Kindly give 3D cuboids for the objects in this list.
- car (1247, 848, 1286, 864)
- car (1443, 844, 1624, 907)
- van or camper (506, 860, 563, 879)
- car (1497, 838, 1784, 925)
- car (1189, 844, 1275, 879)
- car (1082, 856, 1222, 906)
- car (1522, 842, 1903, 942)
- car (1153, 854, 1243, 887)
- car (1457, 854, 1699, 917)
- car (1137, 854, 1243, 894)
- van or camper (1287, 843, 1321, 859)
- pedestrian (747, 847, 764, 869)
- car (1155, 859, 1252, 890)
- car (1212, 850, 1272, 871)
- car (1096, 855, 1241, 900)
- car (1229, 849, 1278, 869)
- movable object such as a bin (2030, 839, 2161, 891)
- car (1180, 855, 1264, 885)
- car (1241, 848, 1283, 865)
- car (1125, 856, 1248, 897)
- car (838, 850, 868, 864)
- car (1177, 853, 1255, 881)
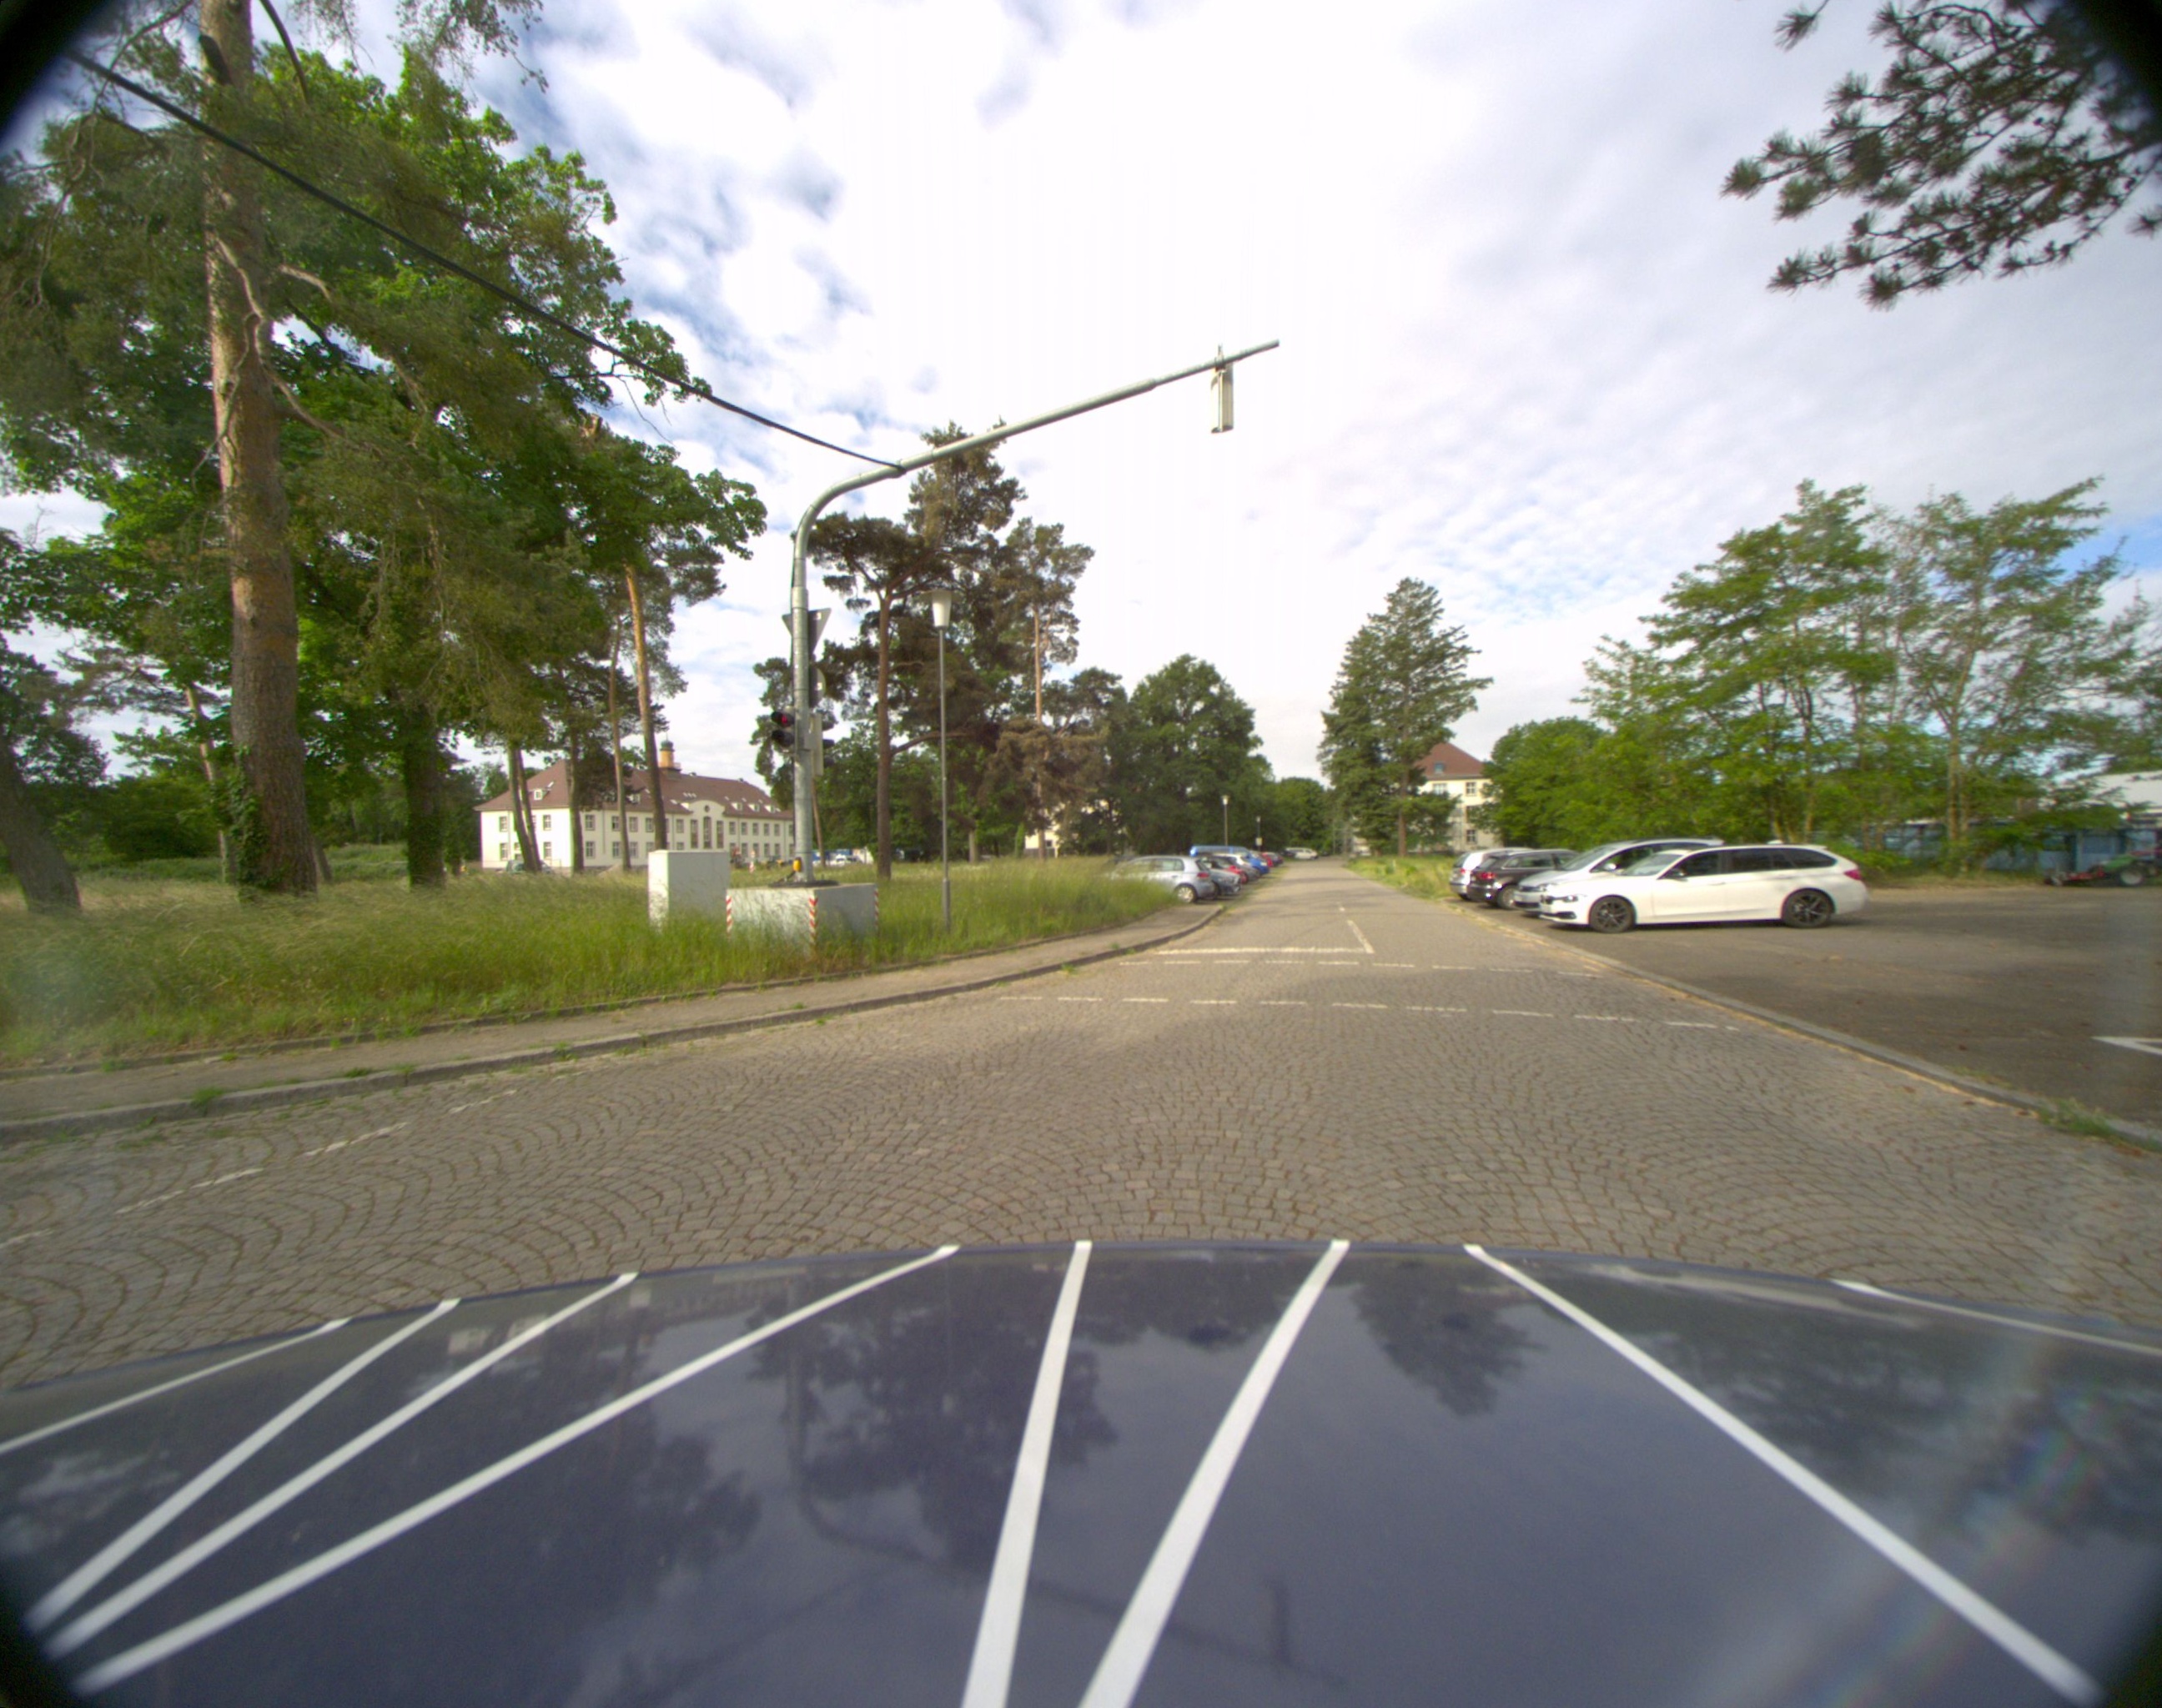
[{"bbox_3d":[19.223,0.165,78.688,3.786,1.615,2.003,-1,1,18],"label":"car"},{"bbox_3d":[12.574,0.592,21.355,3.980,1.447,1.682,-4,0,12],"label":"car"},{"bbox_3d":[-69.962,1.968,97.292,6.116,2.293,2.468,-1,1,15],"label":"van or camper"},{"bbox_3d":[11.560,0.574,16.050,4.480,1.580,1.849,-2,0,13],"label":"car"},{"bbox_3d":[9.196,0.454,46.136,4.833,2.002,2.003,-1,1,21],"label":"car"},{"bbox_3d":[2.219,0.814,23.453,3.991,1.410,1.799,-1,1,18],"label":"car"},{"bbox_3d":[10.870,0.663,13.532,4.813,1.431,1.915,-3,0,14],"label":"car"},{"bbox_3d":[5.519,0.757,35.783,3.927,1.467,1.799,-1,1,18],"label":"car"},{"bbox_3d":[12.019,0.738,18.732,4.626,1.414,1.887,-1,1,14],"label":"car"},{"bbox_3d":[4.432,0.784,30.771,3.927,1.504,1.799,-1,1,19],"label":"car"},{"bbox_3d":[36.510,-0.499,124.745,5.241,2.449,2.211,-1,1,15],"label":"van or camper"},{"bbox_3d":[-33.575,0.420,78.440,1.182,2.165,1.057,-1,1,17],"label":"pedestrian"},{"bbox_3d":[5.343,0.883,33.084,3.927,1.227,1.799,-1,1,18],"label":"car"},{"bbox_3d":[11.638,0.473,54.743,3.991,1.496,1.872,-1,1,19],"label":"car"},{"bbox_3d":[3.003,0.774,25.929,4.624,1.437,1.799,-1,1,17],"label":"car"},{"bbox_3d":[14.698,0.419,64.587,3.992,1.560,2.002,-1,1,14],"label":"car"},{"bbox_3d":[25.492,0.257,18.640,2.534,1.205,1.172,-1,1,16],"label":"movable object such as a bin"},{"bbox_3d":[7.071,0.782,38.117,3.928,1.427,1.799,-1,1,17],"label":"car"},{"bbox_3d":[17.735,0.228,74.452,3.786,1.560,2.003,-1,1,18],"label":"car"},{"bbox_3d":[3.971,0.825,28.485,4.261,1.437,1.799,-1,1,19],"label":"car"},{"bbox_3d":[-35.581,0.469,118.759,2.163,2.002,4.840,-1,0,15],"label":"car"},{"bbox_3d":[7.333,0.684,41.235,3.928,1.441,1.799,-1,1,17],"label":"car"}]
